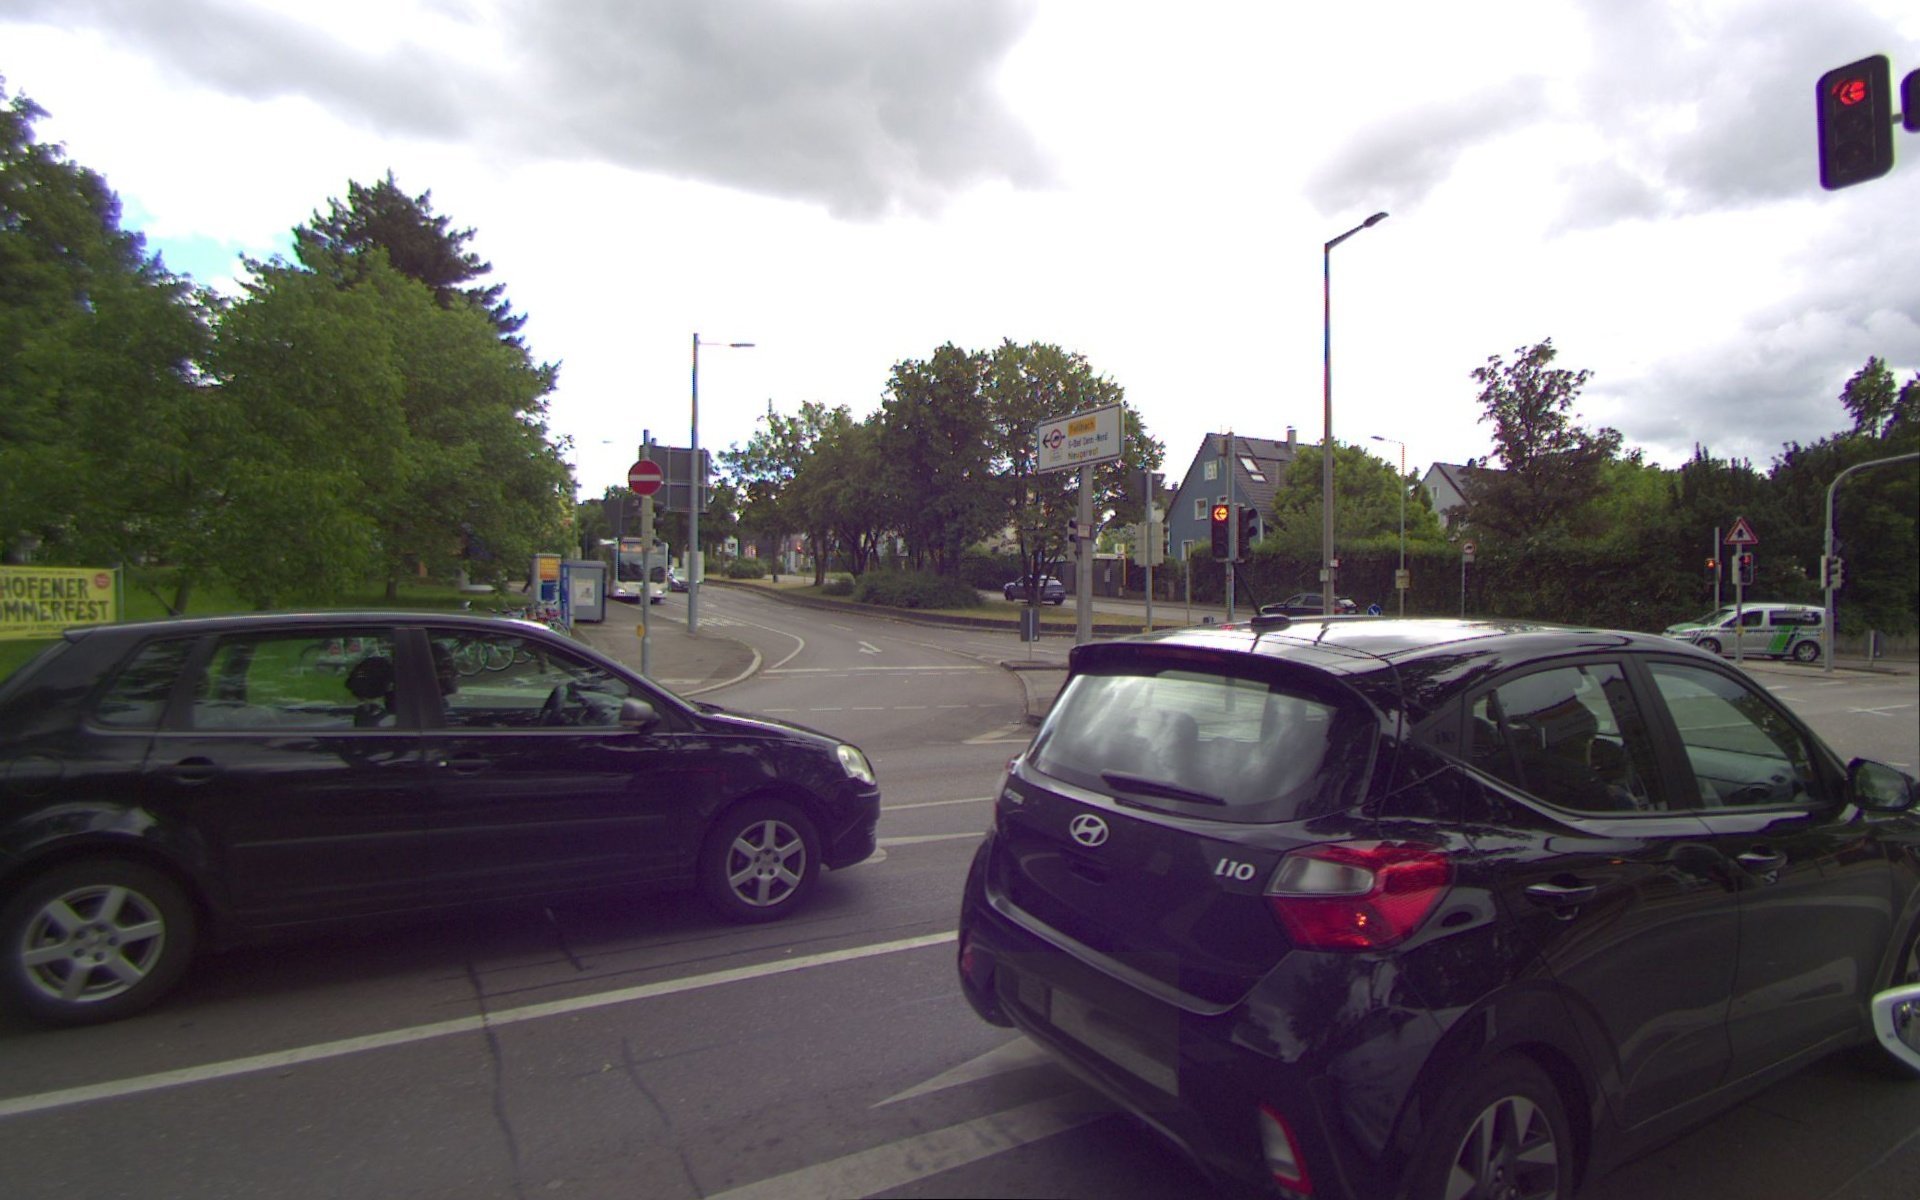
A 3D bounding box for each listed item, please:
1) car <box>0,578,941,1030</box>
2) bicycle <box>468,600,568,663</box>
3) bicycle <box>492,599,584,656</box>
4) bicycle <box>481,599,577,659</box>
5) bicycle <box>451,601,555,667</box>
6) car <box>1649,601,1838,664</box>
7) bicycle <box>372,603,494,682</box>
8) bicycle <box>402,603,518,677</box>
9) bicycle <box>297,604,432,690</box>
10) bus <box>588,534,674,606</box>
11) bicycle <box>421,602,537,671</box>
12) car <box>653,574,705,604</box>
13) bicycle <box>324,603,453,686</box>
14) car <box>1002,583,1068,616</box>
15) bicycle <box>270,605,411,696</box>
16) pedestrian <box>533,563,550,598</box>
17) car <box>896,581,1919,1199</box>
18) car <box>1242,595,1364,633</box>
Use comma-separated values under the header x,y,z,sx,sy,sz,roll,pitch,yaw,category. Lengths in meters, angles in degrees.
x,y,z,sx,sy,sz,roll,pitch,yaw,category
-2.102,0.724,4.831,3.762,1.486,1.549,1,-2,-30,car
-9.520,0.673,21.651,1.896,1.269,0.546,2,1,4,bicycle
-9.842,0.644,23.476,1.902,1.269,0.544,2,1,-13,bicycle
-9.748,0.654,22.767,1.899,1.269,0.545,2,1,-7,bicycle
-9.409,0.687,20.712,1.896,1.269,0.546,2,1,4,bicycle
25.667,1.029,33.092,4.450,1.899,1.950,1,0,15,car
-9.192,0.726,17.532,1.896,1.269,0.546,2,1,8,bicycle
-9.185,0.717,18.461,1.896,1.269,0.546,2,1,8,bicycle
-9.424,0.734,15.916,1.896,1.269,0.546,2,1,8,bicycle
-17.594,-1.758,53.088,2.644,3.205,12.265,2,3,-26,bus
-9.287,0.704,19.449,1.902,1.269,0.544,2,1,-13,bicycle
-18.798,-0.779,67.029,1.979,1.877,4.702,1,1,-33,car
-9.467,0.725,16.645,1.896,1.269,0.546,2,1,8,bicycle
4.445,-0.051,60.015,1.925,1.836,4.413,1,0,-27,car
-9.373,0.743,15.212,1.896,1.269,0.546,2,1,8,bicycle
-20.443,-0.942,49.047,0.694,1.698,0.563,1,1,-27,pedestrian
1.784,0.750,3.348,3.624,1.500,1.695,1,0,-31,car
14.334,0.563,42.191,1.934,1.443,4.485,1,0,-42,car
